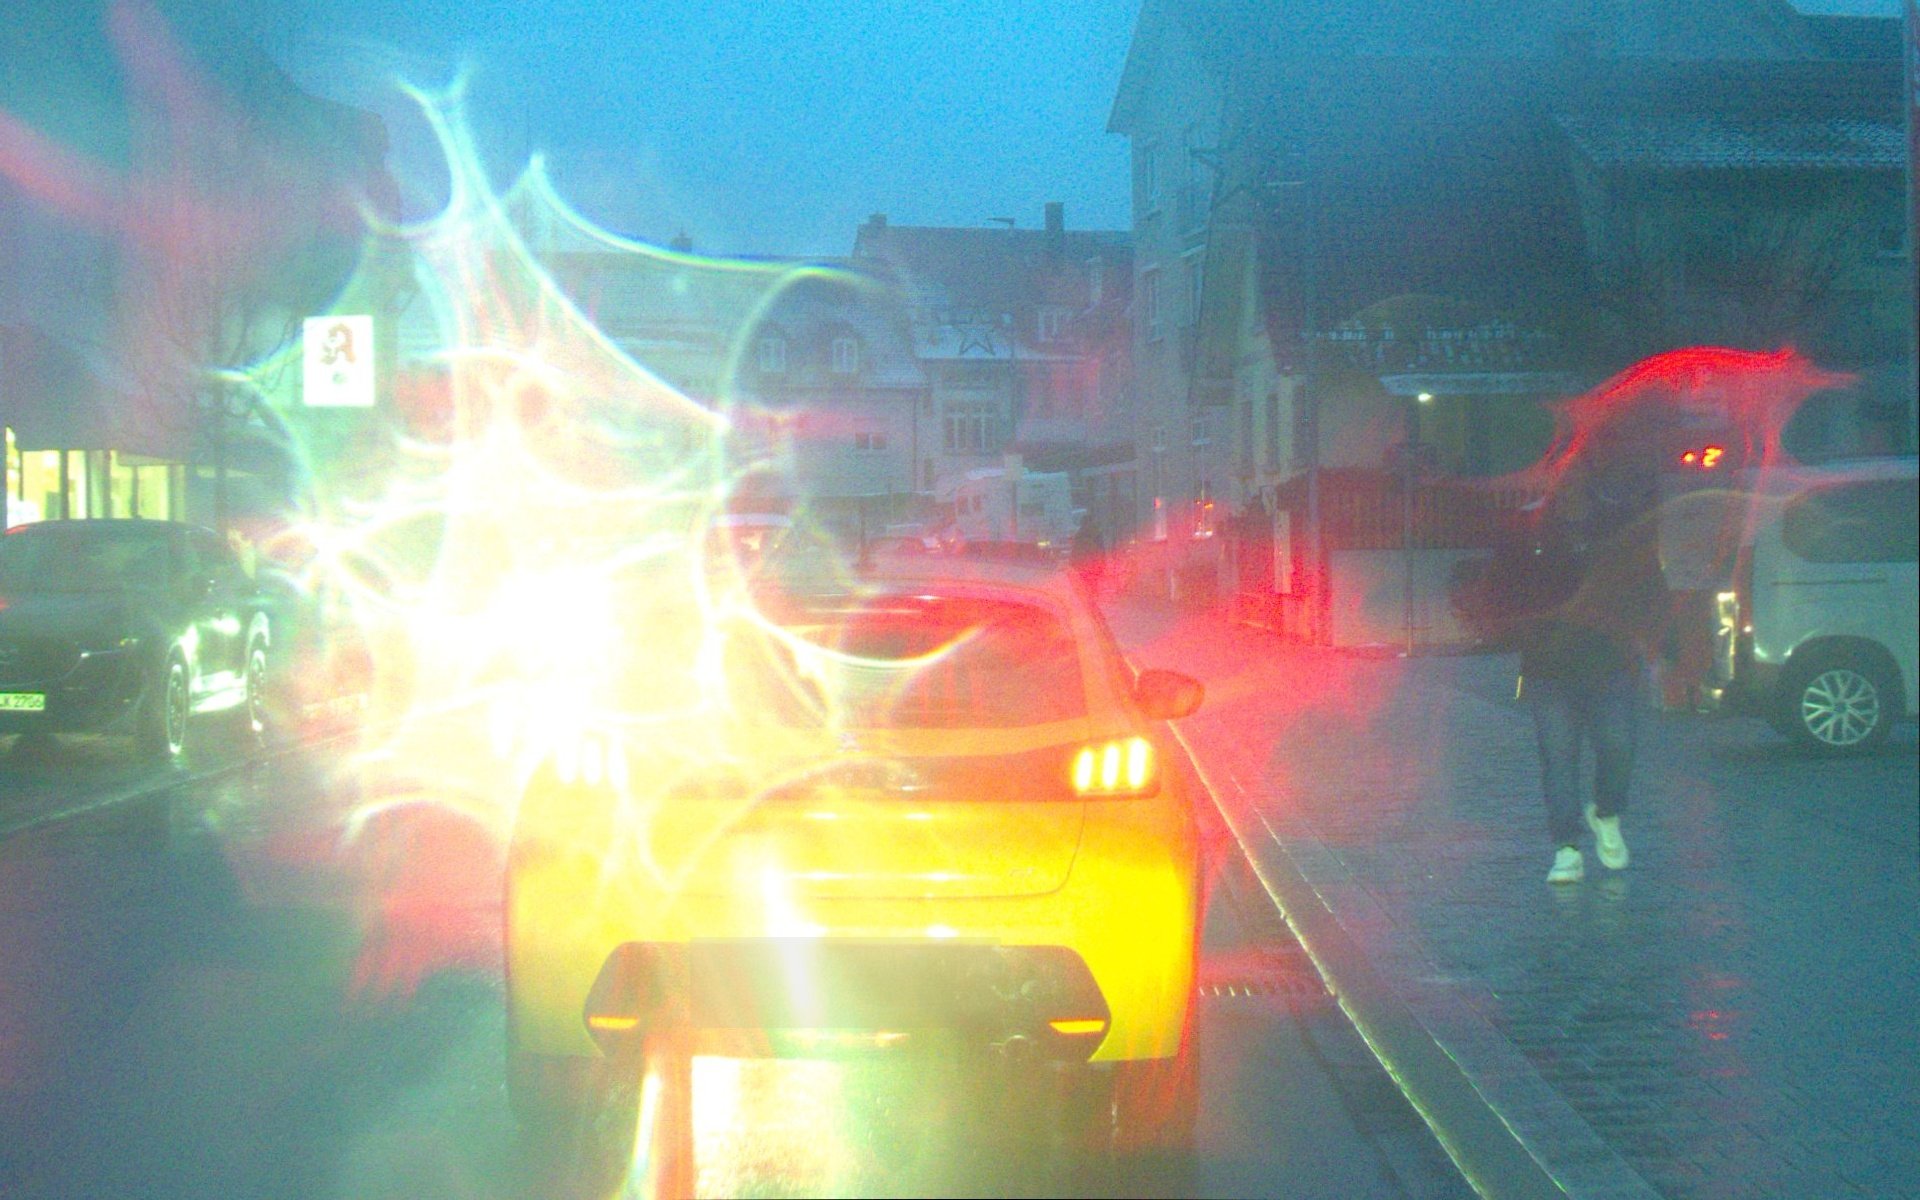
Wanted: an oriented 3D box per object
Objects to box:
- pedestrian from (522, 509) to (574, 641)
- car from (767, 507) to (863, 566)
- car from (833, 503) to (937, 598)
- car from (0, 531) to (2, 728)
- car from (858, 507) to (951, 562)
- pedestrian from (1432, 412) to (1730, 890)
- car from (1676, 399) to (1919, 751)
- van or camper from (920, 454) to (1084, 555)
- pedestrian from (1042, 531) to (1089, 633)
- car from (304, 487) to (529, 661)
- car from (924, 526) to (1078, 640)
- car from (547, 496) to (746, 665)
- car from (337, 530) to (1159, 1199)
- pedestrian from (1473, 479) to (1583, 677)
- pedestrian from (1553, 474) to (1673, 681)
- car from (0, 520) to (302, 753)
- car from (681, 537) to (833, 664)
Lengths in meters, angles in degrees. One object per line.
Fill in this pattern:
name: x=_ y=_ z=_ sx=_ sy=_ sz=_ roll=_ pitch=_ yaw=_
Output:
pedestrian: x=-4.996 y=-0.304 z=41.735 sx=0.574 sy=1.580 sz=0.530 roll=0 pitch=2 yaw=-2
car: x=-4.649 y=-2.036 z=109.728 sx=1.993 sy=1.759 sz=4.352 roll=-2 pitch=2 yaw=-17
car: x=-1.555 y=-1.006 z=70.170 sx=1.993 sy=1.851 sz=4.001 roll=1 pitch=1 yaw=-3
car: x=-6.499 y=0.411 z=17.413 sx=1.993 sy=1.552 sz=4.621 roll=1 pitch=1 yaw=0
car: x=-1.792 y=-2.078 z=110.100 sx=1.993 sy=1.605 sz=4.175 roll=-2 pitch=1 yaw=-15
pedestrian: x=2.530 y=0.197 z=14.128 sx=0.966 sy=1.883 sz=1.006 roll=1 pitch=1 yaw=-3
car: x=6.584 y=-0.213 z=21.135 sx=4.092 sy=2.042 sz=1.999 roll=-2 pitch=1 yaw=8
van or camper: x=1.308 y=-3.057 z=110.872 sx=2.650 sy=3.037 sz=6.736 roll=-4 pitch=3 yaw=-23
pedestrian: x=1.816 y=-0.313 z=59.309 sx=0.745 sy=1.723 sz=0.873 roll=0 pitch=2 yaw=-3
car: x=-5.937 y=-0.332 z=38.073 sx=2.085 sy=1.786 sz=5.025 roll=0 pitch=2 yaw=-5
car: x=0.562 y=-0.280 z=50.826 sx=1.993 sy=1.583 sz=4.001 roll=1 pitch=1 yaw=-3
car: x=-3.562 y=-0.283 z=39.863 sx=1.993 sy=1.700 sz=4.968 roll=2 pitch=2 yaw=-2
car: x=-0.528 y=0.590 z=9.695 sx=1.814 sy=1.528 sz=4.000 roll=1 pitch=1 yaw=-2
pedestrian: x=4.986 y=-0.197 z=30.228 sx=0.842 sy=1.699 sz=0.839 roll=-2 pitch=1 yaw=4
pedestrian: x=5.500 y=-0.194 z=28.991 sx=0.703 sy=1.699 sz=0.915 roll=-2 pitch=1 yaw=-7
car: x=-6.226 y=0.193 z=24.894 sx=1.993 sy=1.517 sz=4.978 roll=0 pitch=1 yaw=0
car: x=-3.064 y=-0.030 z=51.204 sx=1.951 sy=1.541 sz=4.417 roll=-2 pitch=4 yaw=-7
